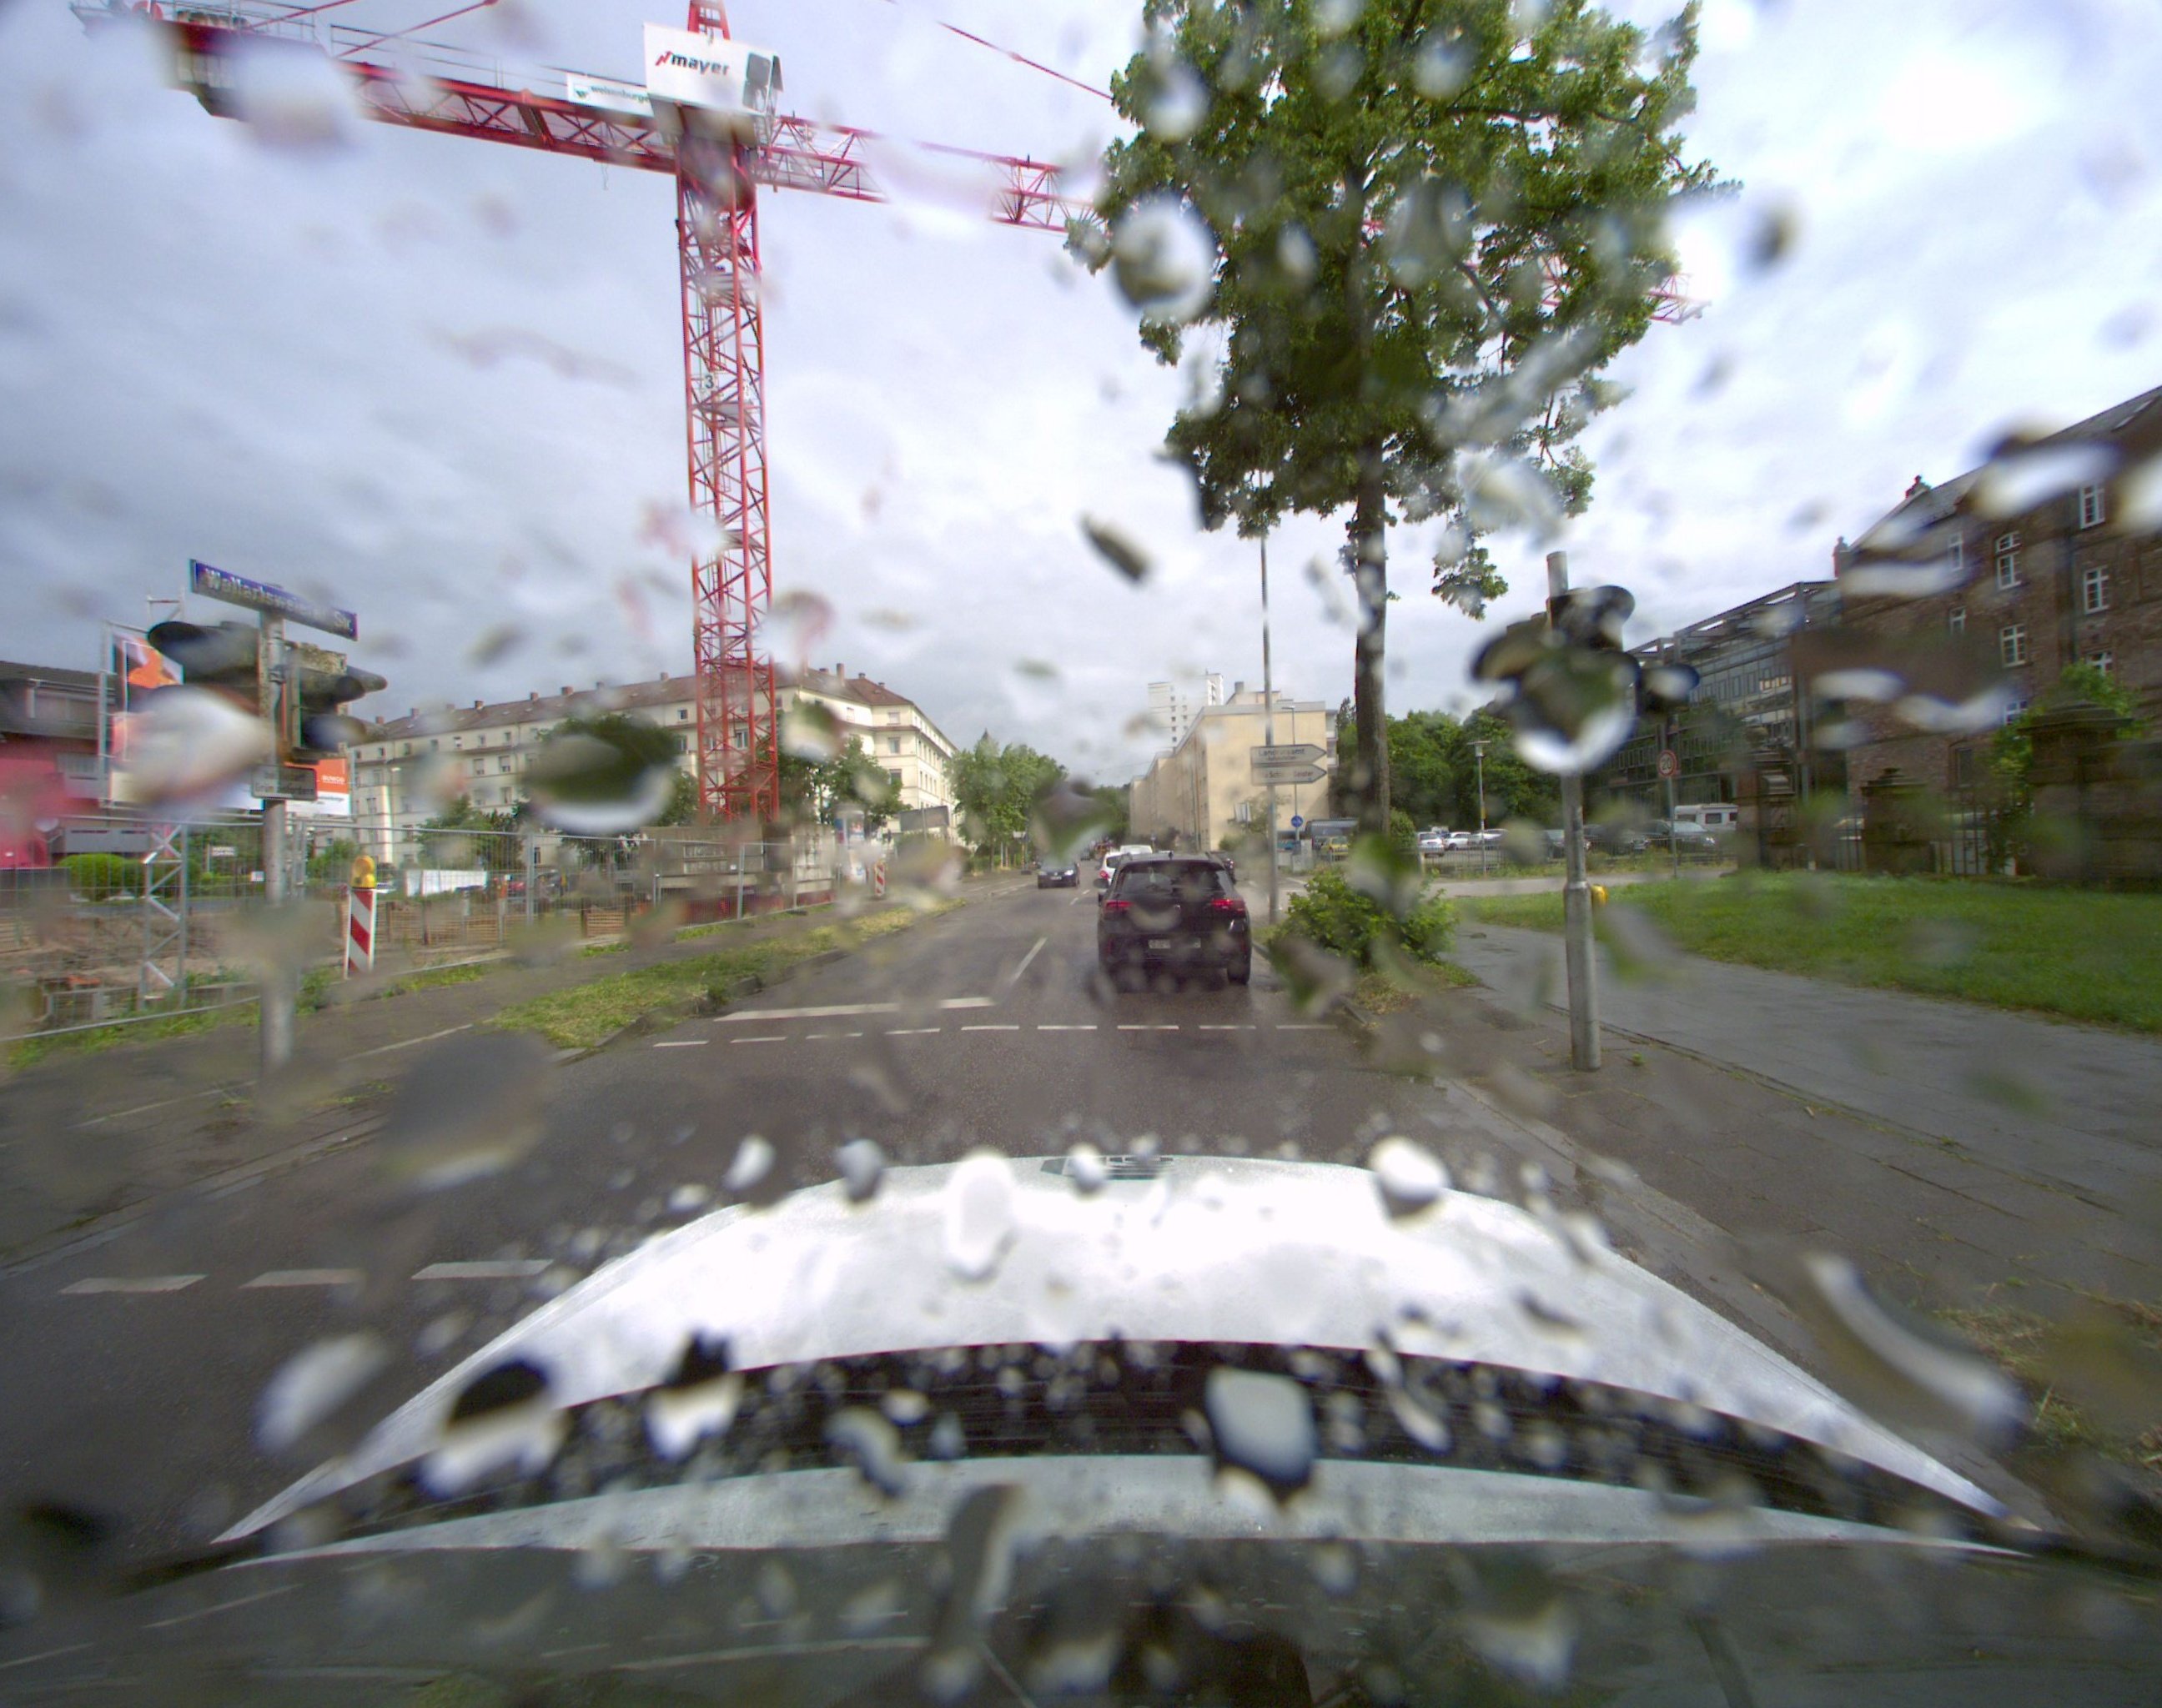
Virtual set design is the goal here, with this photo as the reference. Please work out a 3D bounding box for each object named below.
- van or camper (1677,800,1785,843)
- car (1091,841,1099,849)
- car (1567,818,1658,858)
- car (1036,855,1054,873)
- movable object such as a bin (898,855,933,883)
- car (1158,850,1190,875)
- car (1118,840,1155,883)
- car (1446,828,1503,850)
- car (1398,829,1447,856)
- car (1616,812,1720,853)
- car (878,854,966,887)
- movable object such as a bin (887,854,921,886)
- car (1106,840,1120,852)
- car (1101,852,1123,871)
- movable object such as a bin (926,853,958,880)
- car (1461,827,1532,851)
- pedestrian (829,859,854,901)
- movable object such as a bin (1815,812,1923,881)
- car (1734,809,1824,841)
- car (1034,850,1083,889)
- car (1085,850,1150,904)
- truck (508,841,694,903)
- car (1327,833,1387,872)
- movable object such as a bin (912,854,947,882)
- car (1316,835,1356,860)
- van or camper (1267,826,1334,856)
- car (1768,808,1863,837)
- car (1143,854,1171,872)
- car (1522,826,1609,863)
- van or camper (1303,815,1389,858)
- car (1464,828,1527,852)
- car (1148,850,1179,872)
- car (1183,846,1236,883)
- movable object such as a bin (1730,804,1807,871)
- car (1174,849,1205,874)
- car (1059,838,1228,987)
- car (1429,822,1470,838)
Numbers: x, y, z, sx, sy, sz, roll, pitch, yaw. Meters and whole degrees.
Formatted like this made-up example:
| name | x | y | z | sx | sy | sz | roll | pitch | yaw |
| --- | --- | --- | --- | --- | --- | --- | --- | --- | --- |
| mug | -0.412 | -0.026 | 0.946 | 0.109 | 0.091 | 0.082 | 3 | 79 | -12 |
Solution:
| name | x | y | z | sx | sy | sz | roll | pitch | yaw |
| --- | --- | --- | --- | --- | --- | --- | --- | --- | --- |
| van or camper | 39.682 | -1.967 | 49.830 | 4.768 | 2.486 | 2.258 | 0 | -1 | 1 |
| car | 3.021 | -1.972 | 181.488 | 1.660 | 1.837 | 4.000 | -3 | 0 | 0 |
| car | 24.879 | -0.740 | 38.323 | 1.843 | 1.679 | 4.433 | -3 | 0 | 8 |
| car | -3.371 | 0.906 | 76.784 | 1.582 | 1.505 | 4.061 | -4 | 0 | -2 |
| movable object such as a bin | -10.536 | 0.970 | 51.963 | 1.524 | 1.656 | 1.536 | -3 | 1 | 21 |
| car | 6.266 | 0.565 | 55.091 | 1.599 | 1.508 | 4.159 | -4 | 0 | 0 |
| car | 2.880 | 0.406 | 42.217 | 1.828 | 2.103 | 4.004 | 0 | -1 | 4 |
| car | 30.506 | -1.135 | 63.221 | 3.649 | 1.486 | 1.642 | -3 | 0 | 5 |
| car | 20.692 | -0.683 | 49.477 | 1.641 | 1.486 | 3.723 | -3 | 0 | 5 |
| car | 27.209 | -0.961 | 37.945 | 1.845 | 1.679 | 4.428 | -3 | 0 | 4 |
| car | -8.914 | 0.926 | 45.738 | 4.403 | 1.585 | 1.828 | -3 | 0 | 12 |
| movable object such as a bin | -10.949 | 0.988 | 50.432 | 1.524 | 1.824 | 1.270 | -3 | 1 | 21 |
| car | 4.609 | -1.200 | 118.386 | 1.833 | 1.608 | 3.678 | -4 | 0 | 3 |
| car | 2.649 | 0.613 | 70.625 | 1.600 | 1.510 | 3.545 | -4 | 0 | -2 |
| movable object such as a bin | -9.378 | 0.849 | 55.014 | 1.524 | 1.662 | 1.466 | -3 | 1 | 21 |
| car | 28.456 | -1.018 | 55.863 | 3.957 | 1.465 | 1.674 | -3 | 0 | 3 |
| pedestrian | -9.411 | 1.015 | 31.994 | 0.727 | 1.630 | 0.677 | 0 | -1 | -36 |
| movable object such as a bin | 18.239 | -0.176 | 18.896 | 1.101 | 1.457 | 1.392 | -4 | 0 | 3 |
| car | 40.366 | -1.666 | 47.142 | 3.650 | 1.576 | 1.674 | -3 | 0 | 3 |
| car | -0.971 | 0.672 | 37.662 | 1.833 | 1.608 | 4.004 | -4 | 0 | 3 |
| car | 1.106 | 0.669 | 25.001 | 1.806 | 1.503 | 4.002 | 0 | -1 | 2 |
| truck | -28.893 | 1.055 | 49.133 | 9.738 | 3.184 | 3.808 | -3 | 0 | 16 |
| car | 13.772 | -0.073 | 40.851 | 1.796 | 1.750 | 4.243 | -3 | 0 | 4 |
| movable object such as a bin | -9.941 | 0.920 | 53.511 | 1.524 | 1.674 | 1.674 | -3 | 1 | 21 |
| car | 15.647 | -0.397 | 50.125 | 1.603 | 1.449 | 3.421 | -3 | 0 | 5 |
| van or camper | 17.146 | -1.034 | 63.899 | 4.736 | 2.131 | 2.325 | -2 | 0 | 5 |
| car | 40.367 | -1.708 | 44.813 | 3.650 | 1.486 | 1.674 | 0 | 0 | 3 |
| car | 6.185 | 0.716 | 66.952 | 1.712 | 1.452 | 4.255 | -1 | 0 | -2 |
| car | 22.453 | -0.434 | 37.963 | 1.819 | 1.527 | 4.432 | -3 | 0 | 7 |
| van or camper | 17.430 | -1.105 | 53.734 | 4.977 | 2.554 | 2.177 | -2 | -1 | 3 |
| car | 29.547 | -0.958 | 58.151 | 3.649 | 1.486 | 1.642 | -3 | 0 | 5 |
| car | 6.224 | 0.586 | 61.671 | 1.744 | 1.508 | 4.108 | -2 | -2 | -2 |
| car | 6.040 | 0.463 | 38.698 | 1.768 | 1.539 | 4.378 | -5 | 0 | 1 |
| movable object such as a bin | 15.837 | -0.371 | 18.783 | 0.796 | 1.457 | 1.098 | -4 | 0 | 3 |
| car | 6.675 | 0.498 | 50.369 | 1.748 | 1.528 | 4.005 | 0 | -1 | 5 |
| car | 0.773 | 0.673 | 11.121 | 1.866 | 1.645 | 4.063 | -1 | -1 | 2 |
| car | 35.941 | -2.332 | 79.466 | 3.209 | 1.397 | 1.511 | -3 | 0 | 5 |
